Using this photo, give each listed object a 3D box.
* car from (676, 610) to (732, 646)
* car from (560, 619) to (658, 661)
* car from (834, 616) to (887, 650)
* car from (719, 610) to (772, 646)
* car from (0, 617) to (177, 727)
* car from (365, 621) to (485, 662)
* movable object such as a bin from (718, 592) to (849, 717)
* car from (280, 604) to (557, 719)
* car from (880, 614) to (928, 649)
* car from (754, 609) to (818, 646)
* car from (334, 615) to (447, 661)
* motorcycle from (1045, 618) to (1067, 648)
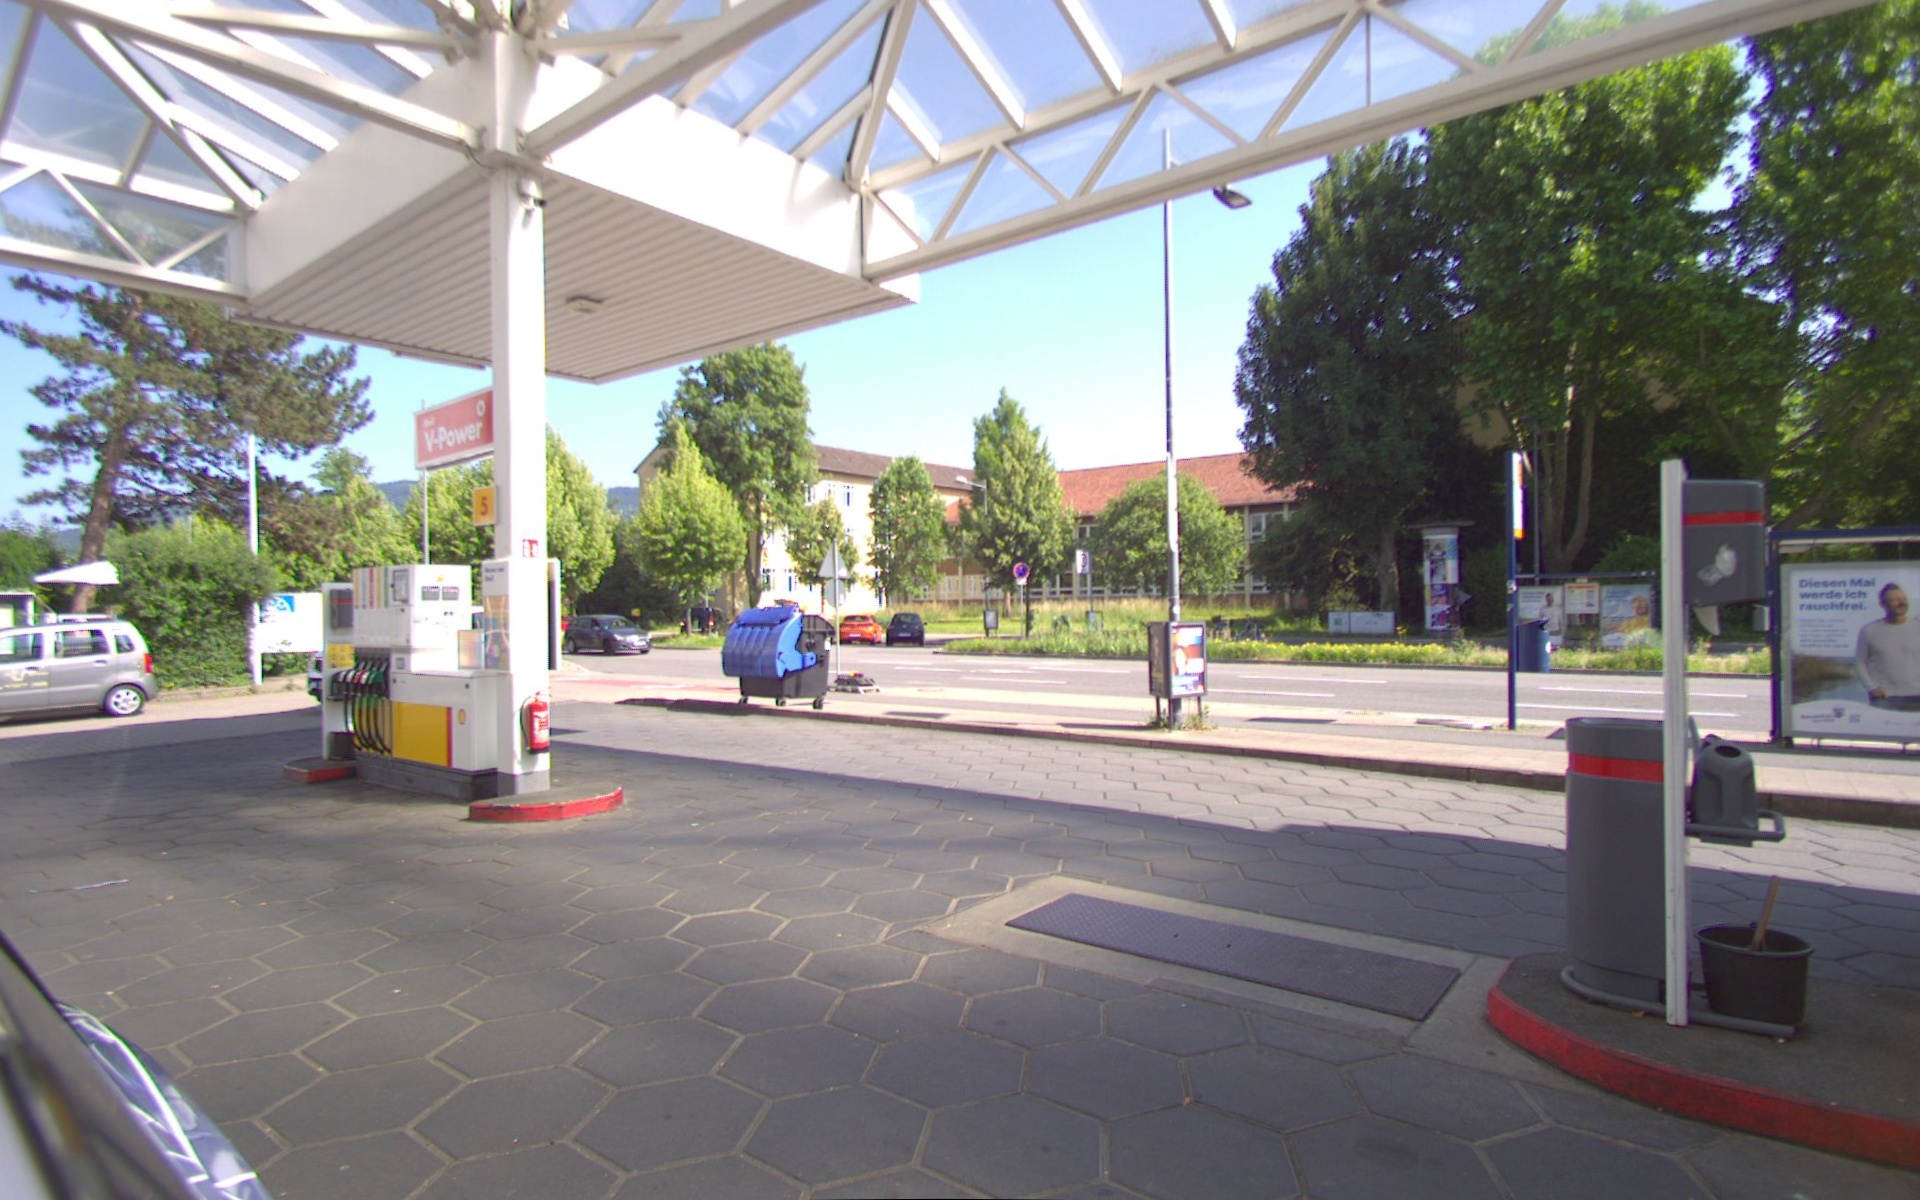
[{"bbox_3d":[-13.109,1.432,52.070,1.855,1.735,4.226,1,-2,0],"label":"car"},{"bbox_3d":[-13.378,1.482,38.480,4.376,1.479,1.548,-1,0,41],"label":"car"},{"bbox_3d":[-4.602,1.519,47.165,1.856,1.471,4.222,1,-2,3],"label":"car"},{"bbox_3d":[-10.965,1.456,52.012,1.855,1.735,4.226,1,-2,0],"label":"car"},{"bbox_3d":[-15.441,1.177,16.774,1.691,1.629,3.614,-1,1,40],"label":"car"},{"bbox_3d":[-20.685,1.595,39.320,1.862,1.493,4.209,0,-2,12],"label":"car"},{"bbox_3d":[-2.572,0.781,14.789,1.336,1.701,1.325,-1,-3,40],"label":"movable object such as a bin"},{"bbox_3d":[-9.120,0.971,17.537,1.941,1.719,4.291,-2,-1,12],"label":"car"},{"bbox_3d":[-2.452,1.396,45.243,1.718,1.471,4.222,0,-2,3],"label":"car"},{"bbox_3d":[-8.575,1.394,50.216,1.860,1.735,4.213,0,-2,9],"label":"car"},{"bbox_3d":[-22.629,1.495,40.397,1.684,1.733,4.394,0,-1,6],"label":"car"},{"bbox_3d":[3.805,1.281,39.925,0.552,1.122,1.750,-1,-1,15],"label":"motorcycle"}]
